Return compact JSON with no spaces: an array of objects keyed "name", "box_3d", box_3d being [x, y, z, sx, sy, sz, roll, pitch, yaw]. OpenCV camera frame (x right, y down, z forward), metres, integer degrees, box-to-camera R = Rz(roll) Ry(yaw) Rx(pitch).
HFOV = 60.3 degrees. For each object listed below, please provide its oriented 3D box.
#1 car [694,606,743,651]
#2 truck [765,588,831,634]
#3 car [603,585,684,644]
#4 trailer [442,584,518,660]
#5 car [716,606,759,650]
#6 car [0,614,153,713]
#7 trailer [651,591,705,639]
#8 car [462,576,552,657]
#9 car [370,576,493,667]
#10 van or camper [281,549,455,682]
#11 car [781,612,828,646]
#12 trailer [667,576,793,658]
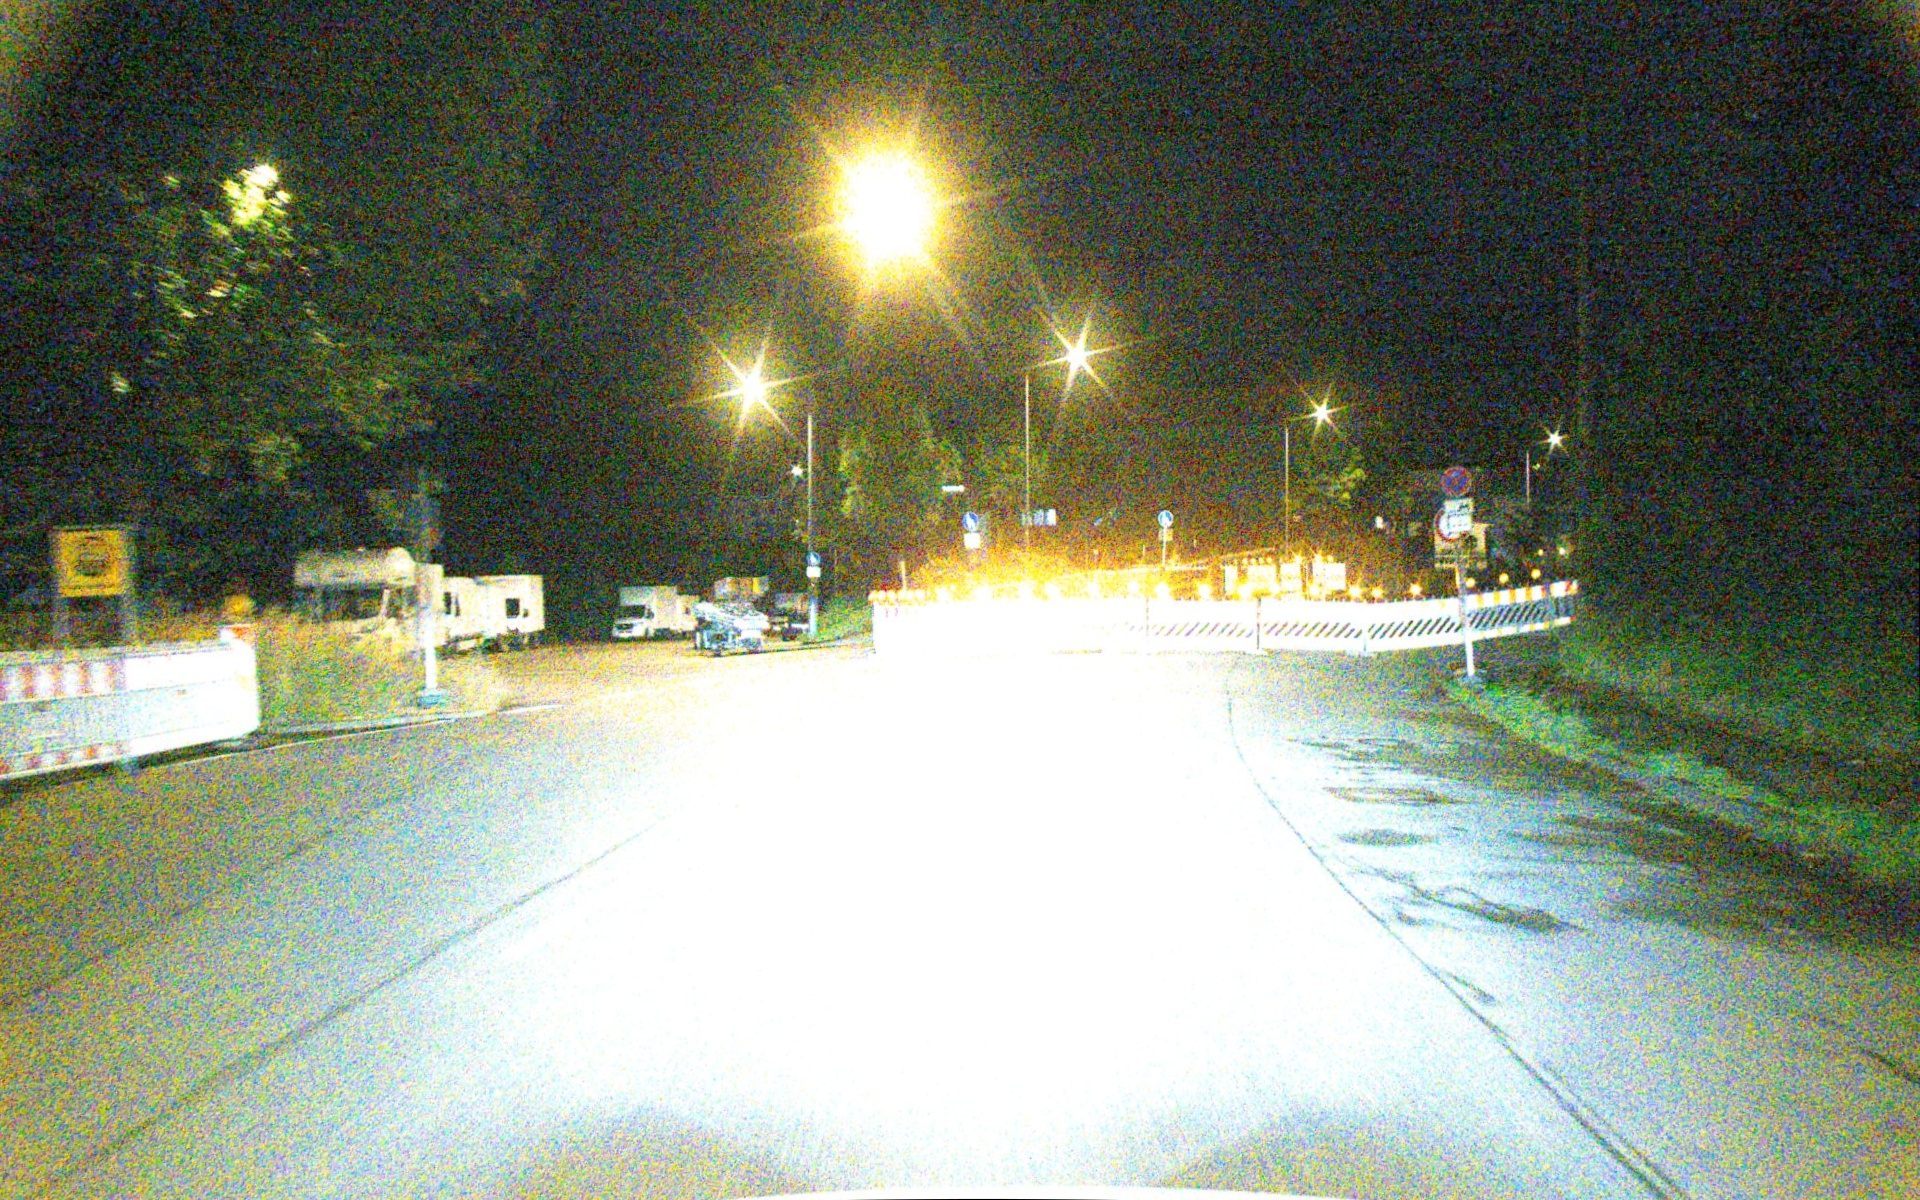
[{"name":"car","box_3d":[-9.260,1.099,63.683,1.687,1.690,3.994,-1,-1,-6]},{"name":"truck","box_3d":[-12.979,0.826,133.096,1.951,3.463,8.985,0,1,17]},{"name":"car","box_3d":[-18.651,0.813,97.900,2.465,3.226,7.143,-3,0,7]},{"name":"trailer","box_3d":[-17.554,0.782,60.671,1.956,2.571,3.563,-3,0,-7]},{"name":"car","box_3d":[-9.557,1.203,71.316,1.687,1.853,3.994,-1,-1,-6]},{"name":"car","box_3d":[-29.404,1.958,53.381,1.951,2.891,6.684,0,1,17]},{"name":"trailer","box_3d":[-17.762,0.894,104.460,1.951,2.862,4.707,-2,0,8]},{"name":"car","box_3d":[-18.423,0.657,67.606,2.472,2.978,7.188,-3,0,-8]},{"name":"car","box_3d":[-17.044,0.674,53.789,2.472,2.651,7.078,-3,0,-8]},{"name":"van or camper","box_3d":[-15.706,0.394,44.470,2.470,3.148,7.436,-3,0,-5]},{"name":"car","box_3d":[-8.637,1.630,92.146,1.684,1.853,4.003,-1,-1,9]},{"name":"trailer","box_3d":[-6.885,0.548,48.976,1.546,2.198,5.160,-3,-1,-34]}]
